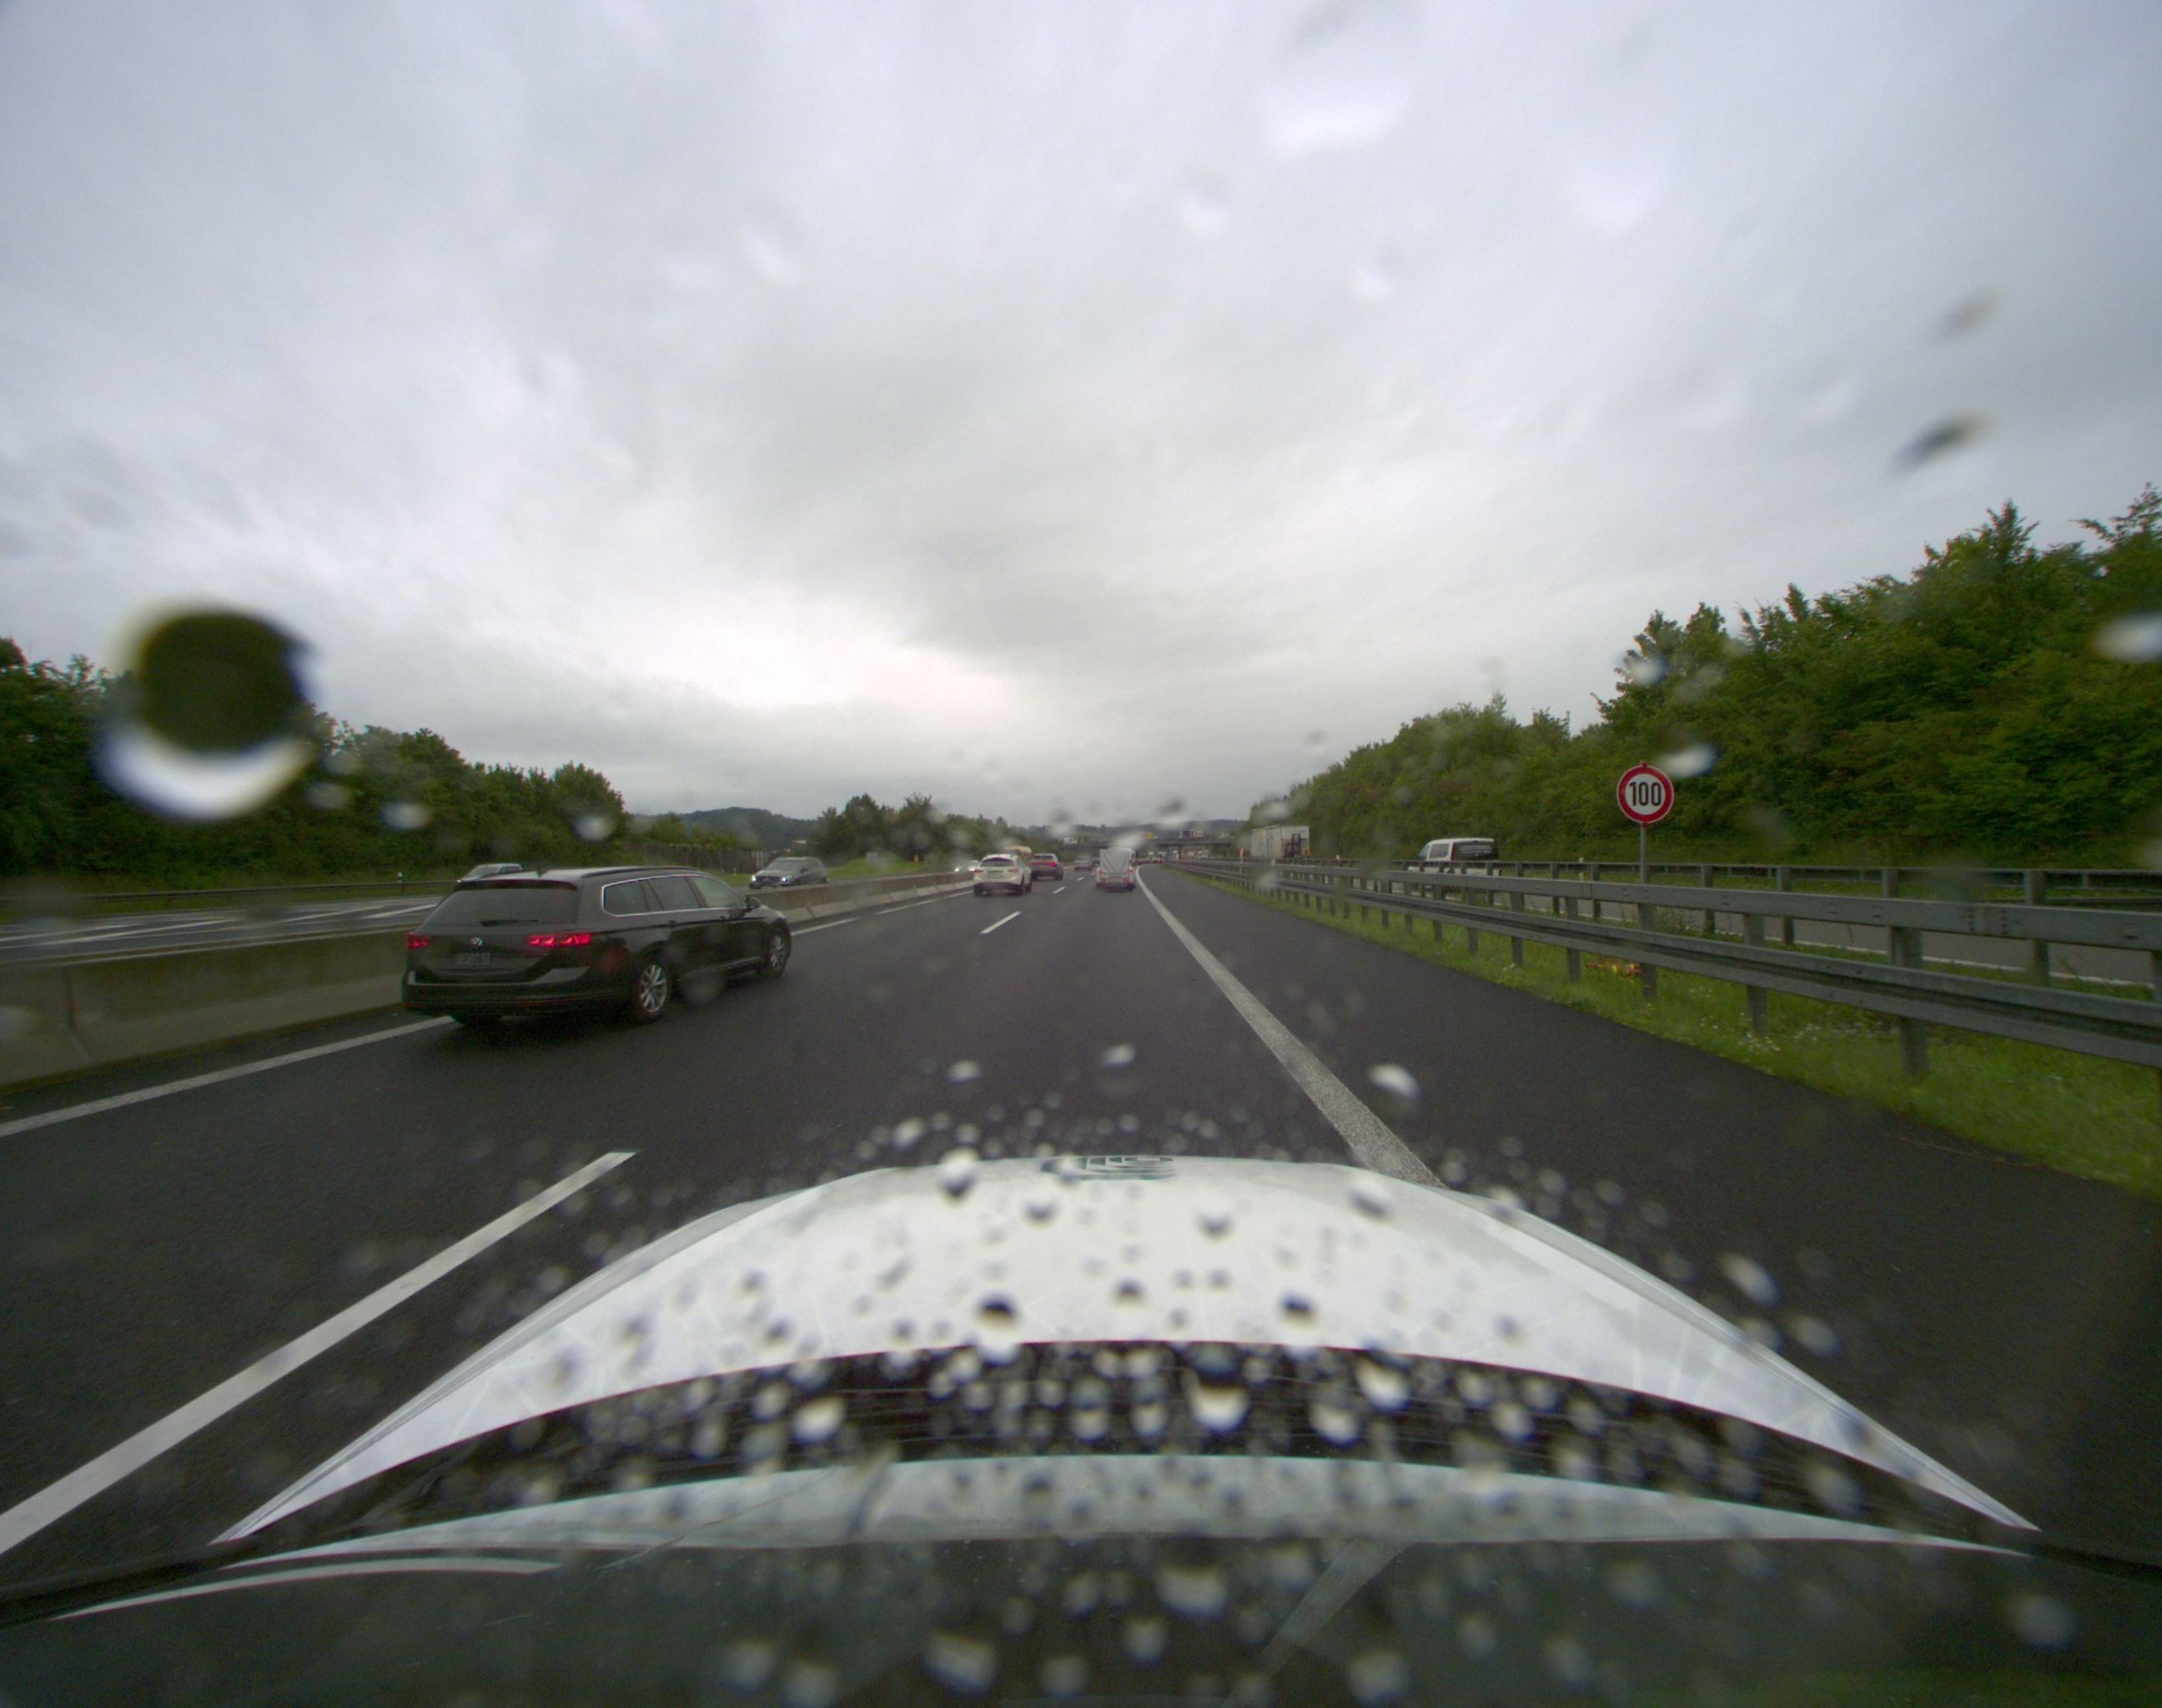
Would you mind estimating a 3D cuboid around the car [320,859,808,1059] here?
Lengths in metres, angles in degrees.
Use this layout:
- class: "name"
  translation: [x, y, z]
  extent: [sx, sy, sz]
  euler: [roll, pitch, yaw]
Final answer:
- class: "car"
  translation: [-4.795, 0.826, 8.671]
  extent: [1.893, 1.497, 4.855]
  euler: [-1, 0, 3]

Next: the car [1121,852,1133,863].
- class: "car"
  translation: [7.959, 0.607, 140.888]
  extent: [1.987, 2.036, 4.151]
  euler: [0, 0, 0]

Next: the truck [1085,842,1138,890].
- class: "truck"
  translation: [1.543, 0.497, 37.955]
  extent: [2.009, 1.985, 7.223]
  euler: [-1, 0, 5]

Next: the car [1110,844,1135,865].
- class: "car"
  translation: [5.472, 0.031, 106.778]
  extent: [3.003, 2.616, 6.082]
  euler: [-1, 0, 5]

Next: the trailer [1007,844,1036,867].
- class: "trailer"
  translation: [-9.278, 0.217, 127.732]
  extent: [2.749, 3.398, 11.462]
  euler: [0, 0, 5]

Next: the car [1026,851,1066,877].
- class: "car"
  translation: [-2.231, 0.628, 53.055]
  extent: [2.166, 1.631, 4.503]
  euler: [-1, 0, 2]

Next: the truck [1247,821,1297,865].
- class: "truck"
  translation: [19.862, -1.064, 85.515]
  extent: [3.422, 4.289, 10.429]
  euler: [-1, 0, 4]

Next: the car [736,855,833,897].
- class: "car"
  translation: [-13.014, 0.924, 36.120]
  extent: [2.169, 1.696, 4.739]
  euler: [-1, 0, 5]

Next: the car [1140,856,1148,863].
- class: "car"
  translation: [16.439, 1.445, 212.250]
  extent: [1.985, 1.750, 4.004]
  euler: [0, 0, 4]

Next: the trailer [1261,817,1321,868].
- class: "trailer"
  translation: [19.153, -1.018, 75.084]
  extent: [3.422, 4.289, 10.465]
  euler: [-1, 0, 4]

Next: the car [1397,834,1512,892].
- class: "car"
  translation: [12.751, 0.287, 28.152]
  extent: [1.854, 1.805, 4.647]
  euler: [-1, 0, 0]

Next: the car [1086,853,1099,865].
- class: "car"
  translation: [1.758, 0.764, 122.386]
  extent: [1.835, 1.819, 4.001]
  euler: [-1, 0, 2]

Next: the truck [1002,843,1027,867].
- class: "truck"
  translation: [-9.876, 0.183, 120.969]
  extent: [2.749, 3.398, 5.853]
  euler: [0, 0, 5]

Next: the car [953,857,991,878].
- class: "car"
  translation: [-9.355, 1.100, 70.241]
  extent: [2.169, 1.696, 4.871]
  euler: [-1, 0, 5]

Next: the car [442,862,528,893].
- class: "car"
  translation: [-36.189, 1.409, 49.644]
  extent: [2.177, 1.696, 4.559]
  euler: [-1, 0, -6]

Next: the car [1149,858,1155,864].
- class: "car"
  translation: [20.923, 1.965, 239.856]
  extent: [1.984, 1.750, 4.006]
  euler: [0, 0, 5]

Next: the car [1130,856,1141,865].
- class: "car"
  translation: [10.701, 1.281, 159.834]
  extent: [1.987, 1.750, 4.000]
  euler: [0, 0, 0]

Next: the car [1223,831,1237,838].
- class: "car"
  translation: [45.463, -5.927, 248.197]
  extent: [1.851, 1.915, 3.956]
  euler: [0, -1, -35]

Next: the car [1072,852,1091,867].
- class: "car"
  translation: [0.076, 0.577, 91.096]
  extent: [1.893, 1.613, 4.018]
  euler: [-1, 0, 2]

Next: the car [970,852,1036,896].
- class: "car"
  translation: [-3.108, 0.758, 33.405]
  extent: [1.967, 1.639, 4.505]
  euler: [-1, 0, 4]
